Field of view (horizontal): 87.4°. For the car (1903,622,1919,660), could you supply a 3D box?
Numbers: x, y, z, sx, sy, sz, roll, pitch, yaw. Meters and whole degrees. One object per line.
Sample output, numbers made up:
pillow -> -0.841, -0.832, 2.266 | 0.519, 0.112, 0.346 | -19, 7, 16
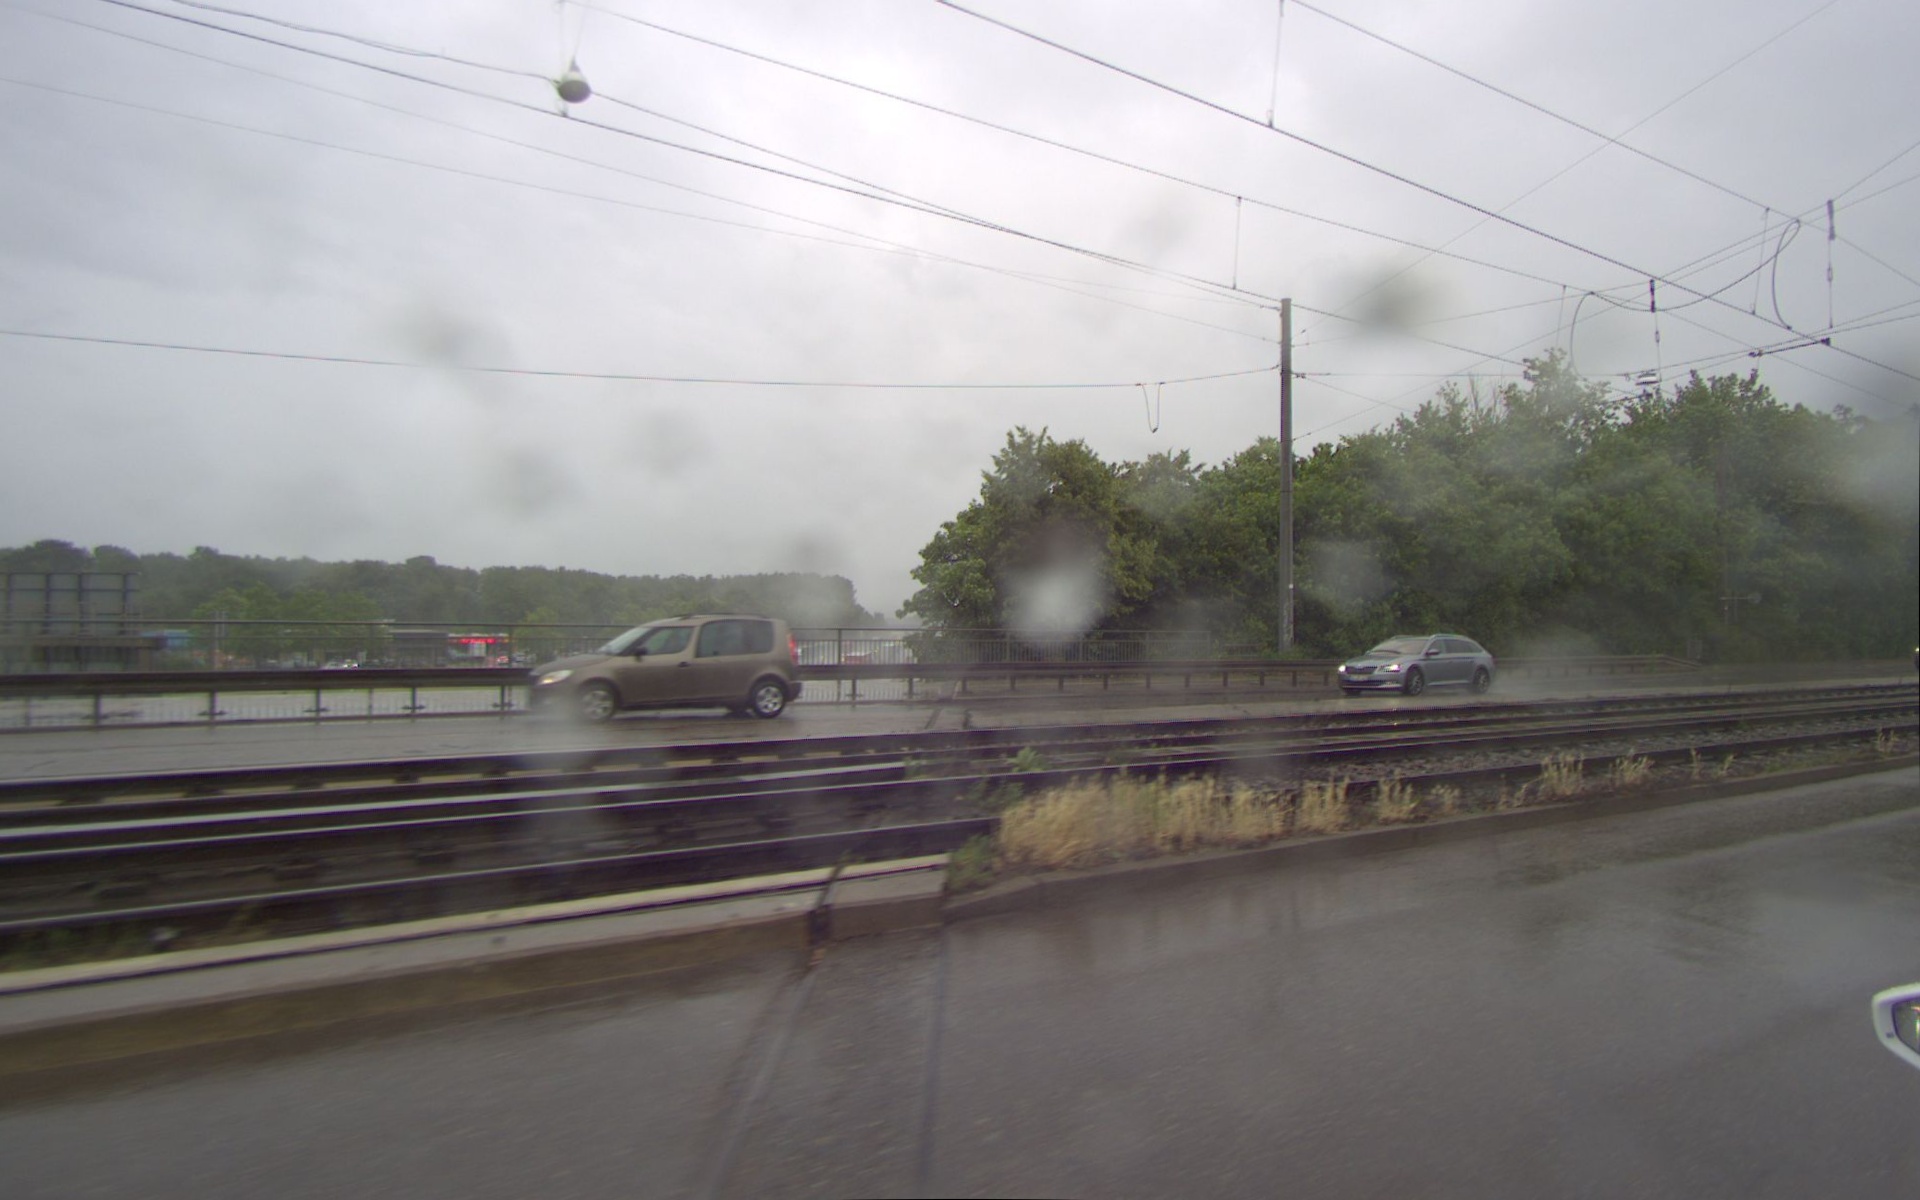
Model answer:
car -> 45.272, 1.861, 45.923 | 4.817, 1.695, 1.983 | 0, -1, -32

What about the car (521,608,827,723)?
car -> -4.471, 0.953, 15.850 | 4.334, 1.595, 1.832 | 1, -1, -31

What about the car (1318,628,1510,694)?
car -> 11.150, 1.423, 24.577 | 4.798, 1.407, 1.983 | 0, -1, -32
